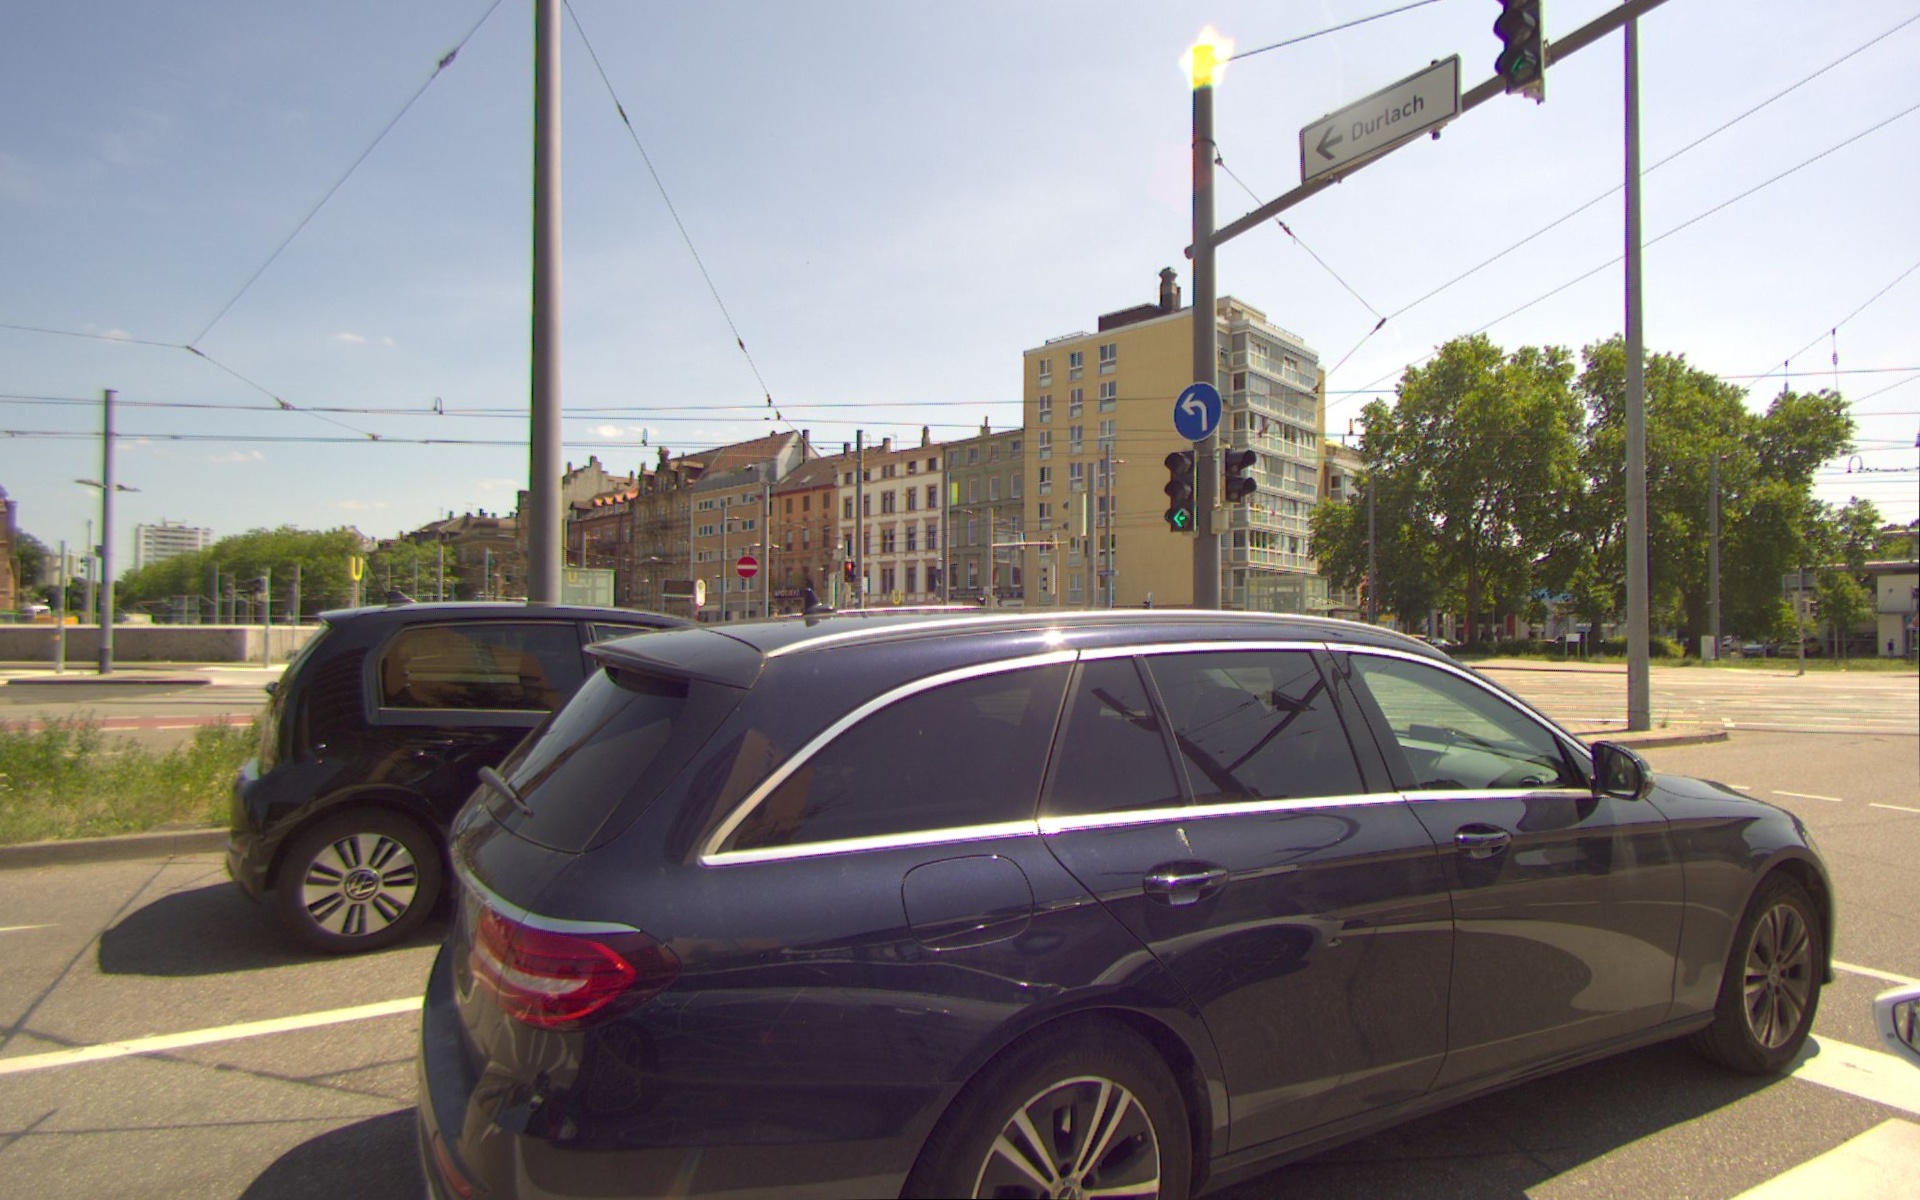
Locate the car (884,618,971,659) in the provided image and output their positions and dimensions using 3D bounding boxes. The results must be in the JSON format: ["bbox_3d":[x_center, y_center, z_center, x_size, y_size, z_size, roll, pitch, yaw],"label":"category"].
[{"bbox_3d":[-1.778,2.045,53.434,1.987,2.084,4.808,2,-2,-44],"label":"car"}]

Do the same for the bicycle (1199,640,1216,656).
[{"bbox_3d":[16.607,3.198,67.440,0.427,1.040,1.435,-1,-2,44],"label":"bicycle"}]

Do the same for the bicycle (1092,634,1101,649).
[{"bbox_3d":[9.823,2.990,72.208,0.424,1.040,1.444,0,-2,17],"label":"bicycle"}]

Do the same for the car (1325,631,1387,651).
[{"bbox_3d":[29.589,3.070,75.104,3.936,1.439,1.993,-1,-2,37],"label":"car"}]

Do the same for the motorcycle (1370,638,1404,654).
[{"bbox_3d":[26.656,2.860,62.759,1.887,0.974,0.524,-1,-2,32],"label":"motorcycle"}]

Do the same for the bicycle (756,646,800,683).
[{"bbox_3d":[-4.705,1.641,25.878,0.620,0.866,1.888,1,-2,-25],"label":"bicycle"}]

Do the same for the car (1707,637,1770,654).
[{"bbox_3d":[71.048,4.135,91.711,4.246,1.530,1.771,0,-2,26],"label":"car"}]

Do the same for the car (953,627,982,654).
[{"bbox_3d":[0.478,2.802,69.801,1.803,1.773,3.999,0,-2,-3],"label":"car"}]

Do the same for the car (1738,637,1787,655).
[{"bbox_3d":[68.288,3.897,85.474,4.273,1.530,1.760,1,-2,-29],"label":"car"}]

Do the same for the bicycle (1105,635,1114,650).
[{"bbox_3d":[10.647,3.014,71.541,0.424,1.040,1.444,0,-2,17],"label":"bicycle"}]

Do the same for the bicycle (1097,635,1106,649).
[{"bbox_3d":[10.134,2.998,71.807,0.424,1.040,1.444,0,-2,17],"label":"bicycle"}]

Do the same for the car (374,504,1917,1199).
[{"bbox_3d":[0.909,0.759,3.224,4.746,1.662,1.790,1,0,-29],"label":"car"}]

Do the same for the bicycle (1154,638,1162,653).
[{"bbox_3d":[13.461,3.089,68.327,0.424,1.040,1.444,0,-2,17],"label":"bicycle"}]

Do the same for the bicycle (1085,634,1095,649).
[{"bbox_3d":[9.385,2.976,72.510,0.424,1.040,1.444,0,-2,17],"label":"bicycle"}]

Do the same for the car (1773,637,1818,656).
[{"bbox_3d":[69.060,3.862,83.001,4.282,1.530,1.756,2,-2,-34],"label":"car"}]

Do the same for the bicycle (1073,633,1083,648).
[{"bbox_3d":[8.606,2.954,73.266,0.424,1.040,1.444,0,-2,17],"label":"bicycle"}]

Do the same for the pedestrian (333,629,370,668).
[{"bbox_3d":[-21.775,1.726,35.934,0.978,1.352,0.527,0,-1,3],"label":"pedestrian"}]

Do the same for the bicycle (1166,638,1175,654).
[{"bbox_3d":[14.197,3.111,67.741,0.424,1.040,1.444,0,-2,17],"label":"bicycle"}]

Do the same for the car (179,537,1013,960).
[{"bbox_3d":[-1.729,0.621,5.465,3.692,1.597,1.736,1,-2,-29],"label":"car"}]

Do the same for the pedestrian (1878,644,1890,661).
[{"bbox_3d":[69.103,3.916,75.127,0.439,1.220,0.512,1,-2,-23],"label":"pedestrian"}]

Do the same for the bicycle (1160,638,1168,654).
[{"bbox_3d":[13.831,3.100,68.011,0.424,1.040,1.444,0,-2,17],"label":"bicycle"}]

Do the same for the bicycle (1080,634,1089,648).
[{"bbox_3d":[9.027,2.966,72.824,0.424,1.040,1.444,0,-2,17],"label":"bicycle"}]

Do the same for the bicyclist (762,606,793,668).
[{"bbox_3d":[-4.717,0.942,25.979,0.433,1.549,1.246,2,0,-25],"label":"bicyclist"}]
